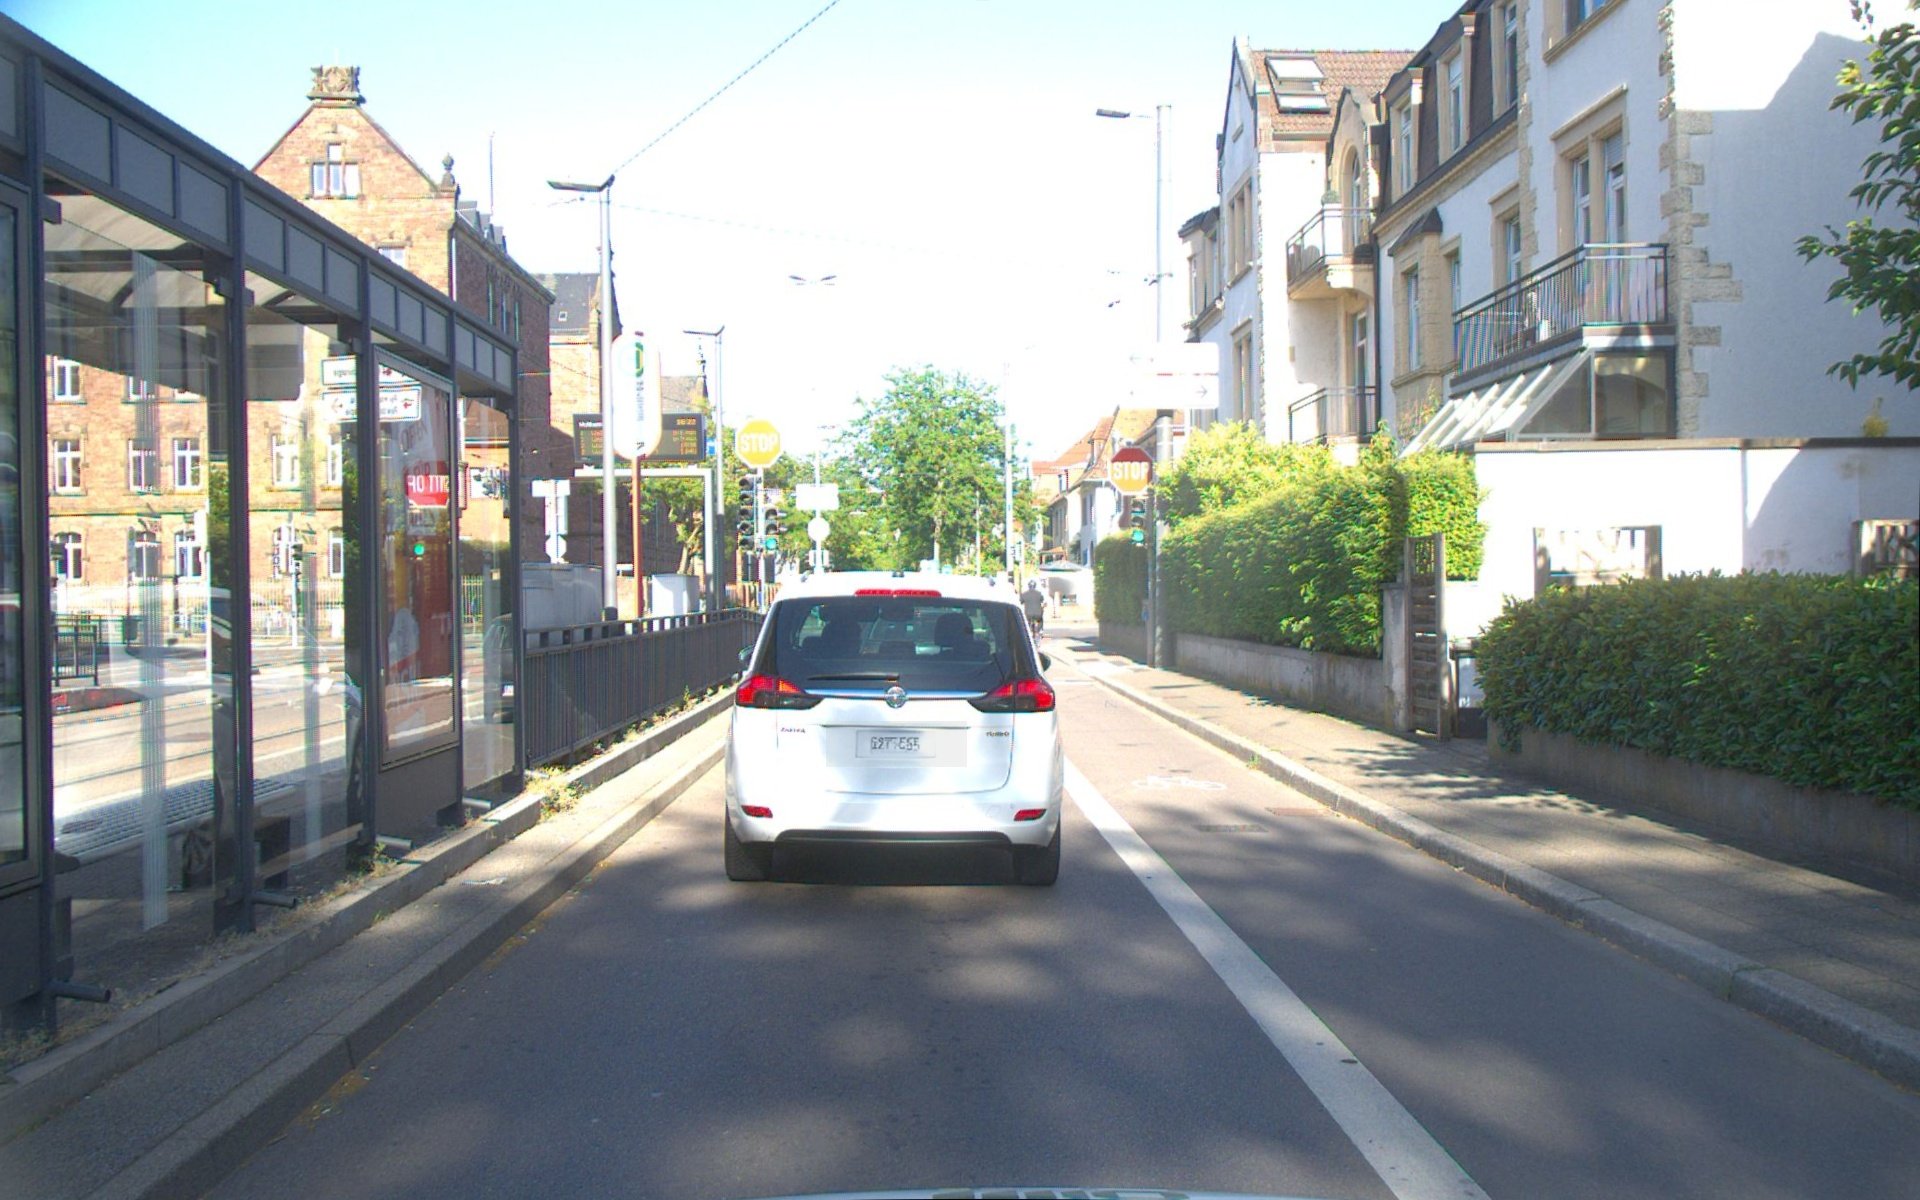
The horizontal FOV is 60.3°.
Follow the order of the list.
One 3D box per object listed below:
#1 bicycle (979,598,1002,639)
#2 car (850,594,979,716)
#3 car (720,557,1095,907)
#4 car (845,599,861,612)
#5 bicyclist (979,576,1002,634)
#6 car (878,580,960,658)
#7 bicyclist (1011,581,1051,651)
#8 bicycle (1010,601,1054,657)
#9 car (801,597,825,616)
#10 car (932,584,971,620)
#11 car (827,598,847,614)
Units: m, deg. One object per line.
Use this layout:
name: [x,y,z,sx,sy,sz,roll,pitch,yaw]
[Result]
bicycle: [0.891,0.542,48.337,0.671,1.177,1.619,0,0,1]
car: [-0.549,0.677,22.375,1.554,1.445,3.900,-1,0,0]
car: [-0.276,0.635,9.927,1.797,1.670,3.918,0,0,-1]
car: [-11.708,0.611,181.140,1.548,1.466,3.584,0,0,1]
bicyclist: [0.888,0.152,48.405,0.671,1.663,1.015,0,0,1]
car: [-0.920,0.402,37.275,1.740,1.660,3.879,0,0,-1]
bicyclist: [1.564,0.344,36.437,0.804,1.528,0.934,0,0,-2]
bicycle: [1.577,0.620,36.435,0.812,1.175,2.094,0,0,-2]
car: [-11.592,0.542,130.569,1.548,1.466,3.584,0,0,1]
car: [-0.390,0.095,79.630,1.739,1.660,3.881,0,0,1]
car: [-11.438,0.572,153.952,1.548,1.466,3.584,0,0,1]
